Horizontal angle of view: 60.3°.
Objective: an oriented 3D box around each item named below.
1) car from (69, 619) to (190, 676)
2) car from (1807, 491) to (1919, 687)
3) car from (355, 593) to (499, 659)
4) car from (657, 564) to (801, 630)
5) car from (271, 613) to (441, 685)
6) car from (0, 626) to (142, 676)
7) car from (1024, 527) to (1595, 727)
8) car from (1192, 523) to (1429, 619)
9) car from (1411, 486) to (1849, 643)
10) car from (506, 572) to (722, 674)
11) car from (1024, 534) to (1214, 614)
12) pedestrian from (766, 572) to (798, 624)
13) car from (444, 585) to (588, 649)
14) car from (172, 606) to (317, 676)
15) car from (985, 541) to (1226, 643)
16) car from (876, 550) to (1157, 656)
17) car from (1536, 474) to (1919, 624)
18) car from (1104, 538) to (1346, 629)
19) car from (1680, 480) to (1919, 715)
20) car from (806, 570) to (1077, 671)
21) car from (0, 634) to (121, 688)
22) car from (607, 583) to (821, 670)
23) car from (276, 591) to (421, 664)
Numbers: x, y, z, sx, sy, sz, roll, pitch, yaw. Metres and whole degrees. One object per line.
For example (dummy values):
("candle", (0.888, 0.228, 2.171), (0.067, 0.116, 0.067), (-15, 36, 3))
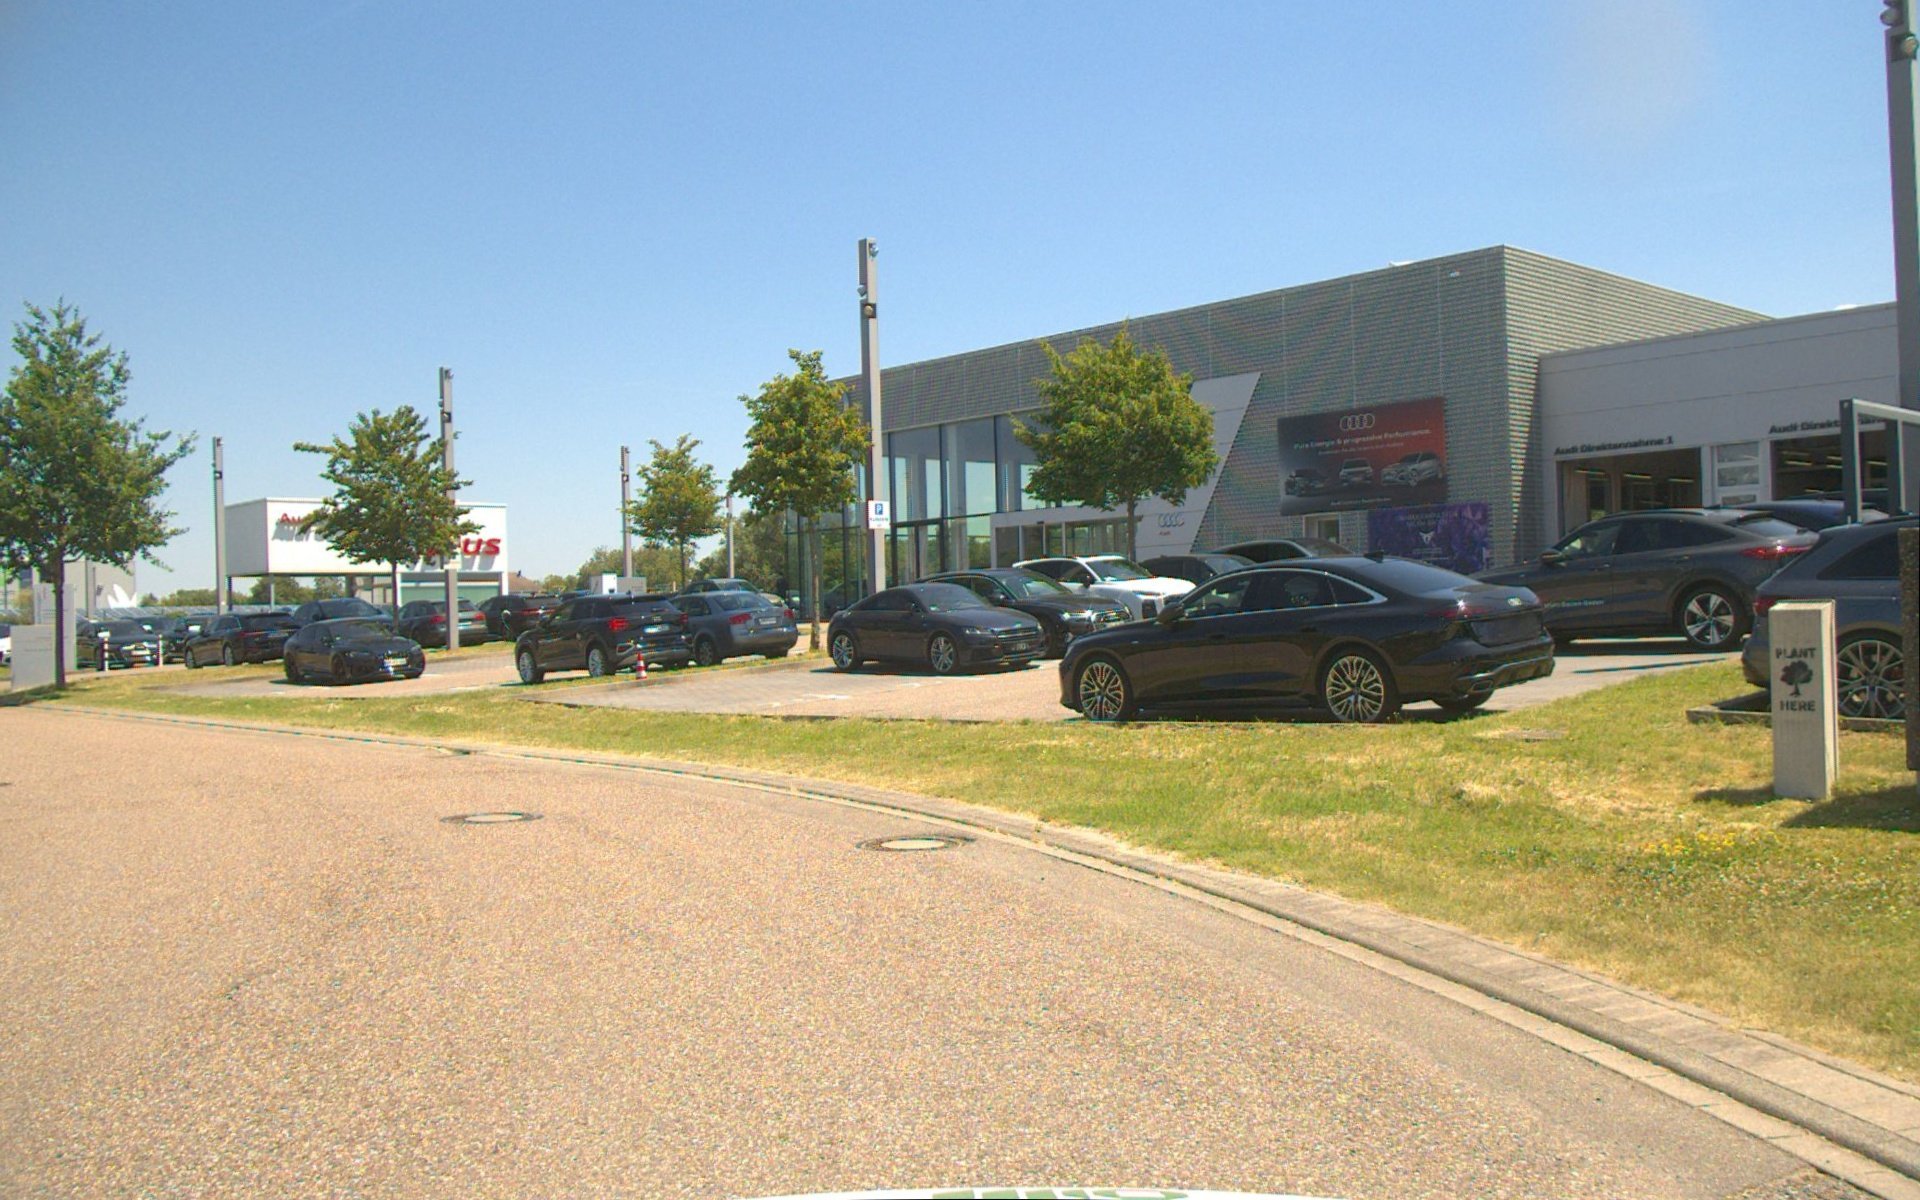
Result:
("car", (-26.123, 1.505, 51.937), (2.016, 1.540, 5.157), (-6, 2, -42))
("car", (9.383, -0.192, 12.591), (1.812, 1.555, 4.865), (-5, 1, -44))
("car", (-15.153, 0.752, 46.861), (1.952, 1.482, 4.907), (-4, -1, -43))
("car", (-7.318, -0.073, 51.989), (1.952, 1.648, 4.907), (-4, -1, -43))
("car", (-13.928, 1.087, 37.980), (1.953, 1.390, 4.646), (-6, 4, -43))
("car", (-32.605, 1.850, 60.357), (1.997, 1.482, 4.512), (-3, 1, 45))
("car", (3.042, 0.256, 15.317), (1.872, 1.479, 4.942), (-5, 2, -44))
("car", (7.483, -0.600, 35.658), (1.953, 1.769, 4.652), (-5, 1, -44))
("car", (8.233, -0.383, 20.670), (1.816, 1.672, 4.708), (-3, 0, -44))
("car", (-6.379, 0.442, 30.235), (1.880, 1.598, 4.159), (-6, 2, -44))
("car", (3.783, -0.596, 39.981), (1.951, 1.619, 4.361), (-6, 2, -41))
("pedestrian", (-6.322, -0.070, 58.726), (0.765, 1.807, 0.735), (-3, 0, -38))
("car", (-13.019, 0.518, 48.335), (1.952, 1.482, 4.907), (-4, -1, -43))
("car", (-18.891, 1.108, 43.545), (1.952, 1.482, 4.907), (-4, -1, -43))
("car", (2.665, -0.122, 31.000), (1.953, 1.641, 4.219), (-5, 1, -44))
("car", (0.901, 0.090, 29.106), (1.953, 1.580, 4.924), (-5, 1, -44))
("car", (10.266, -0.629, 22.313), (1.816, 1.724, 4.345), (-2, 0, -44))
("car", (5.099, -0.303, 32.235), (1.953, 1.502, 4.301), (-5, 1, -44))
("car", (7.443, -0.103, 10.504), (1.953, 1.493, 4.865), (-5, 1, -44))
("car", (-0.368, 0.352, 26.718), (1.953, 1.398, 4.242), (-5, 1, -44))
("car", (-34.424, 2.312, 62.379), (1.997, 1.722, 4.512), (-3, 0, 45))
("car", (-4.771, 0.531, 31.698), (1.954, 1.390, 4.159), (-6, 2, -44))
("car", (-16.914, 0.786, 45.601), (1.952, 1.625, 4.907), (-4, -1, -43))
